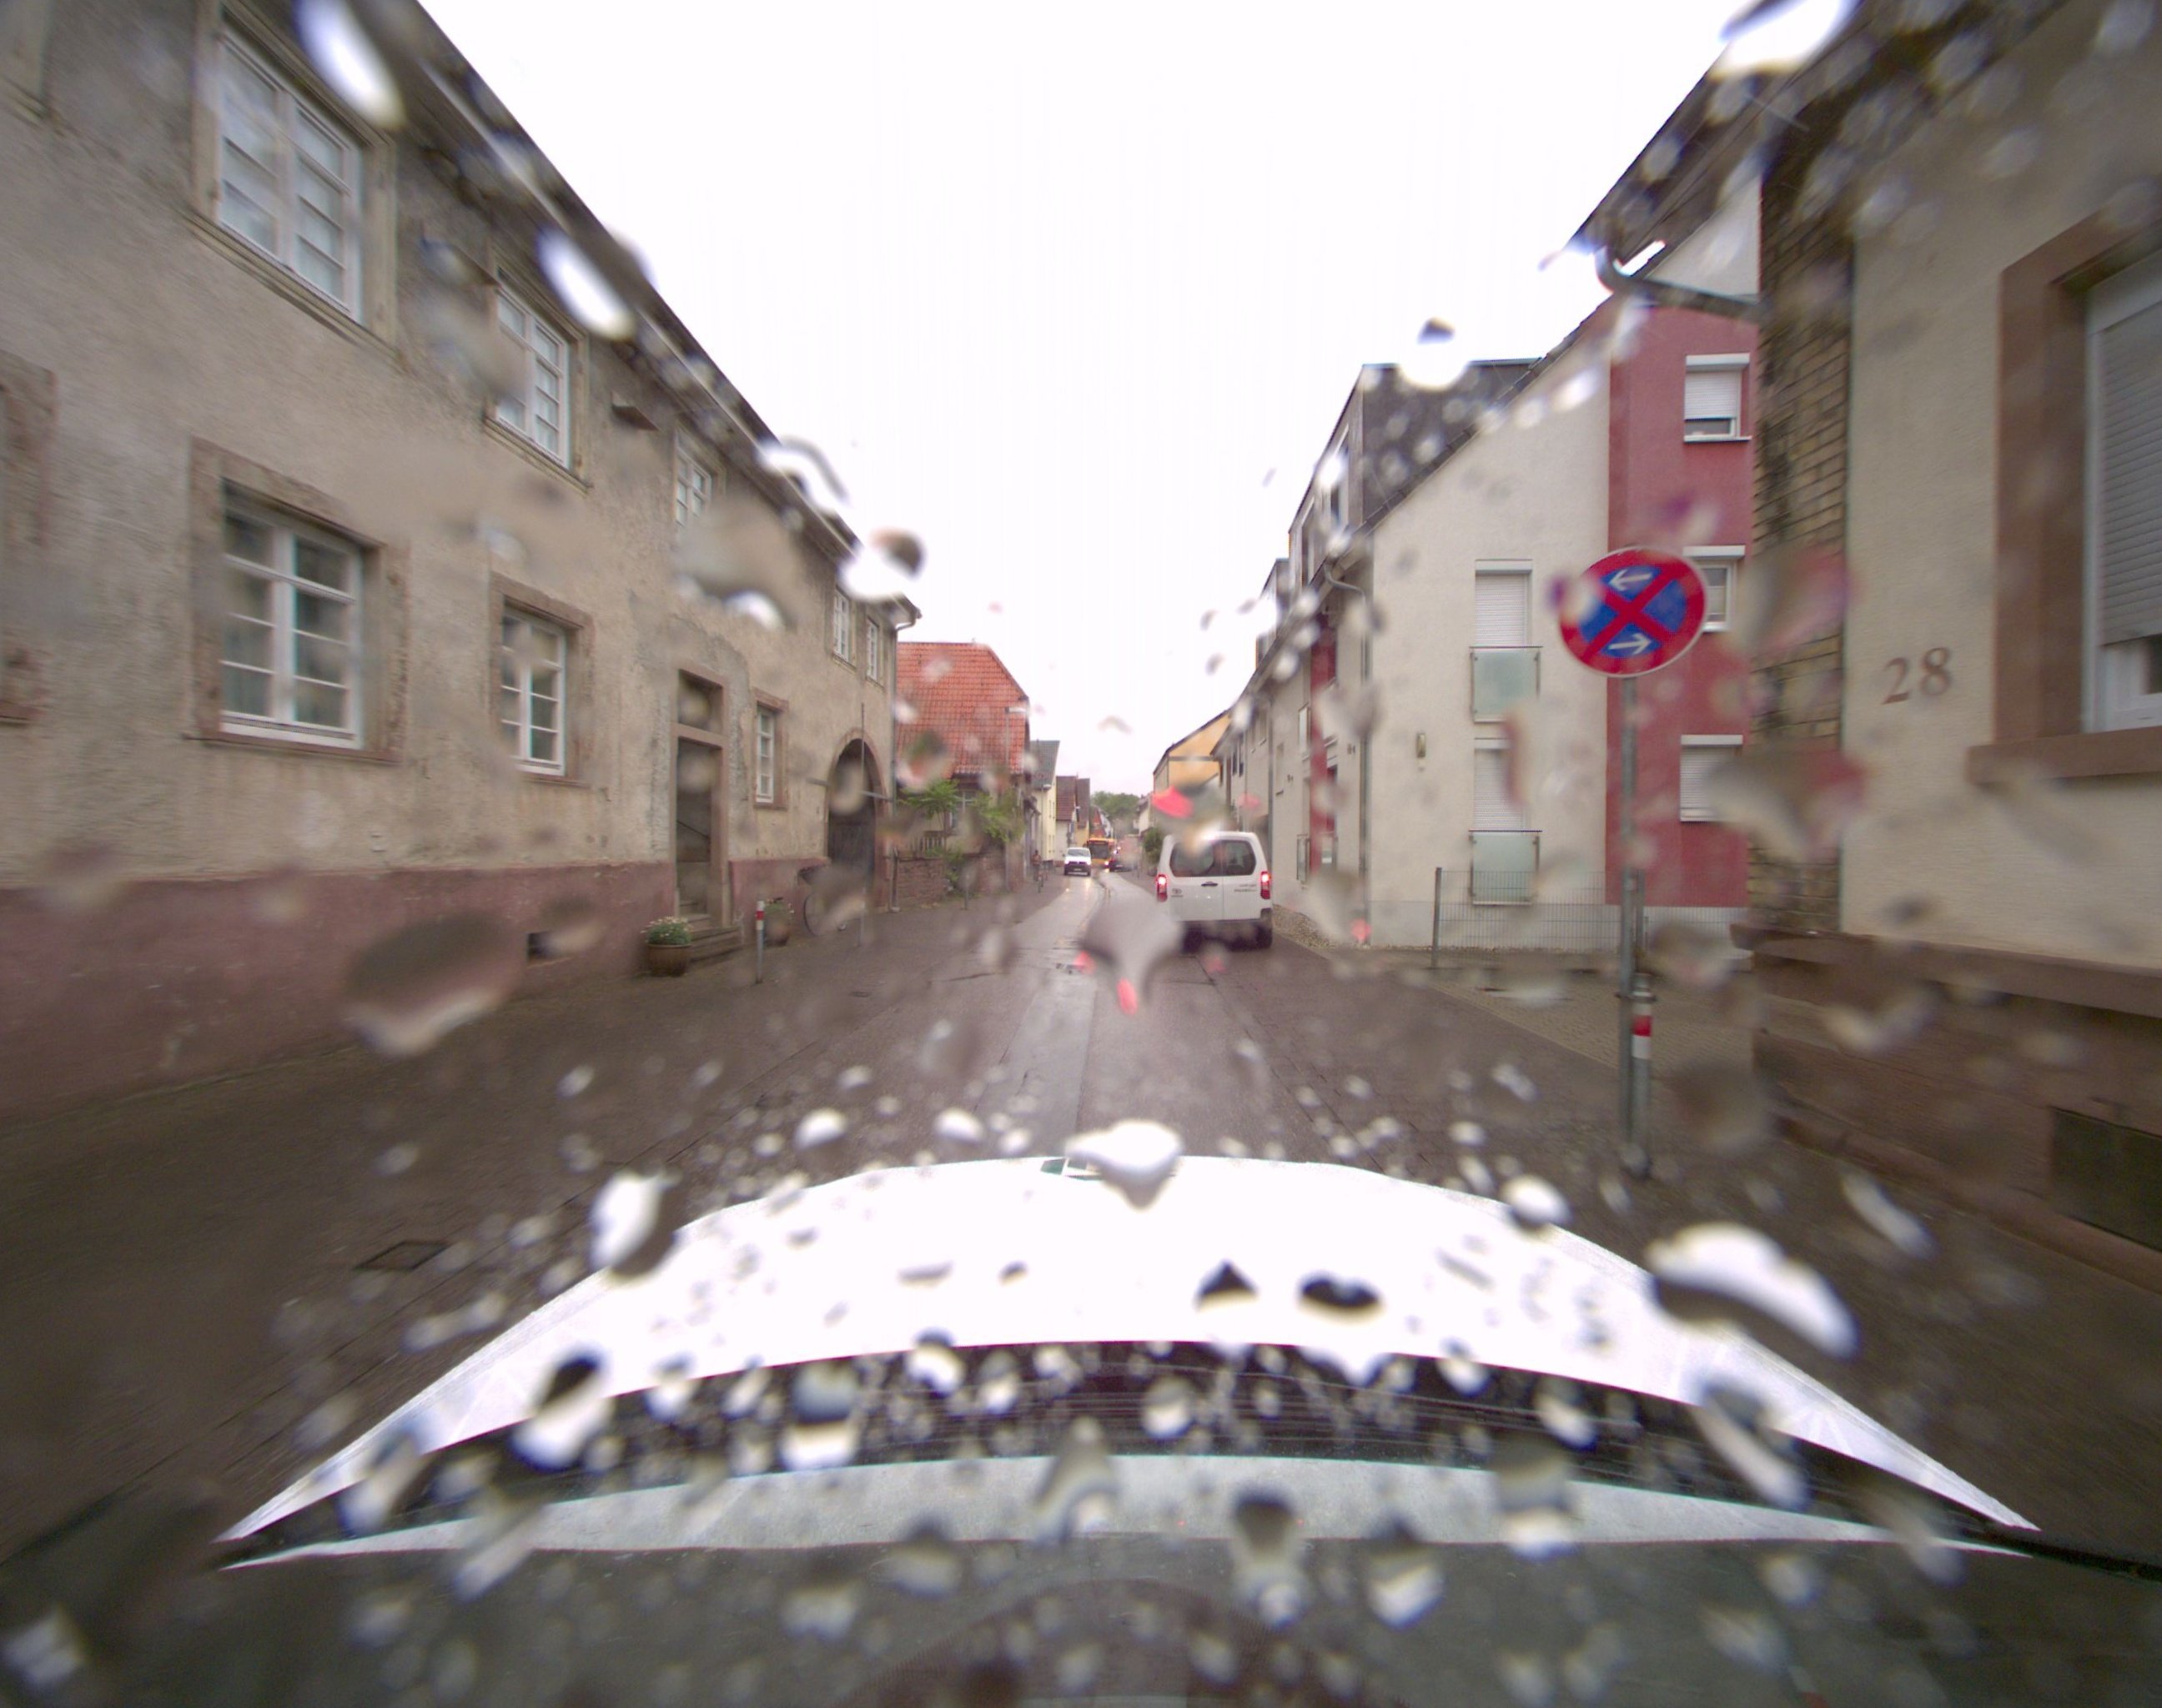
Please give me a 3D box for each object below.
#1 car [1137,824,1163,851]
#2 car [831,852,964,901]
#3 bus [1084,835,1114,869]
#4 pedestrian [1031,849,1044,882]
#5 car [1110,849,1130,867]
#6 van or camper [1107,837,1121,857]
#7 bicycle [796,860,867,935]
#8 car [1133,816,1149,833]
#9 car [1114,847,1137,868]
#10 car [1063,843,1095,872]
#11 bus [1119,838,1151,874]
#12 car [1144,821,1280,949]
[{"bbox_3d":[5.403,-1.261,64.052,1.820,2.014,3.696,1,-1,2],"label":"car"},{"bbox_3d":[-5.408,0.648,24.203,3.511,1.376,1.597,0,0,4],"label":"car"},{"bbox_3d":[1.982,-0.206,86.141,2.782,3.329,8.183,2,0,3],"label":"bus"},{"bbox_3d":[-2.071,0.553,38.458,0.567,1.530,0.568,-1,0,-7],"label":"pedestrian"},{"bbox_3d":[3.253,0.332,67.913,1.555,1.371,3.588,1,0,3],"label":"car"},{"bbox_3d":[4.888,-1.047,121.583,1.827,2.925,5.369,1,-1,4],"label":"van or camper"},{"bbox_3d":[-4.182,0.694,13.775,0.481,1.180,1.837,1,-1,4],"label":"bicycle"},{"bbox_3d":[7.587,-3.720,103.134,1.985,2.014,4.004,1,0,4],"label":"car"},{"bbox_3d":[3.158,0.257,58.182,1.555,1.480,3.587,1,0,3],"label":"car"},{"bbox_3d":[-0.105,0.267,57.552,1.884,1.967,4.729,1,0,4],"label":"car"},{"bbox_3d":[5.052,0.183,77.736,2.782,3.180,8.183,2,0,3],"label":"bus"},{"bbox_3d":[2.066,0.472,13.907,1.788,1.819,4.104,-1,-1,2],"label":"car"}]
